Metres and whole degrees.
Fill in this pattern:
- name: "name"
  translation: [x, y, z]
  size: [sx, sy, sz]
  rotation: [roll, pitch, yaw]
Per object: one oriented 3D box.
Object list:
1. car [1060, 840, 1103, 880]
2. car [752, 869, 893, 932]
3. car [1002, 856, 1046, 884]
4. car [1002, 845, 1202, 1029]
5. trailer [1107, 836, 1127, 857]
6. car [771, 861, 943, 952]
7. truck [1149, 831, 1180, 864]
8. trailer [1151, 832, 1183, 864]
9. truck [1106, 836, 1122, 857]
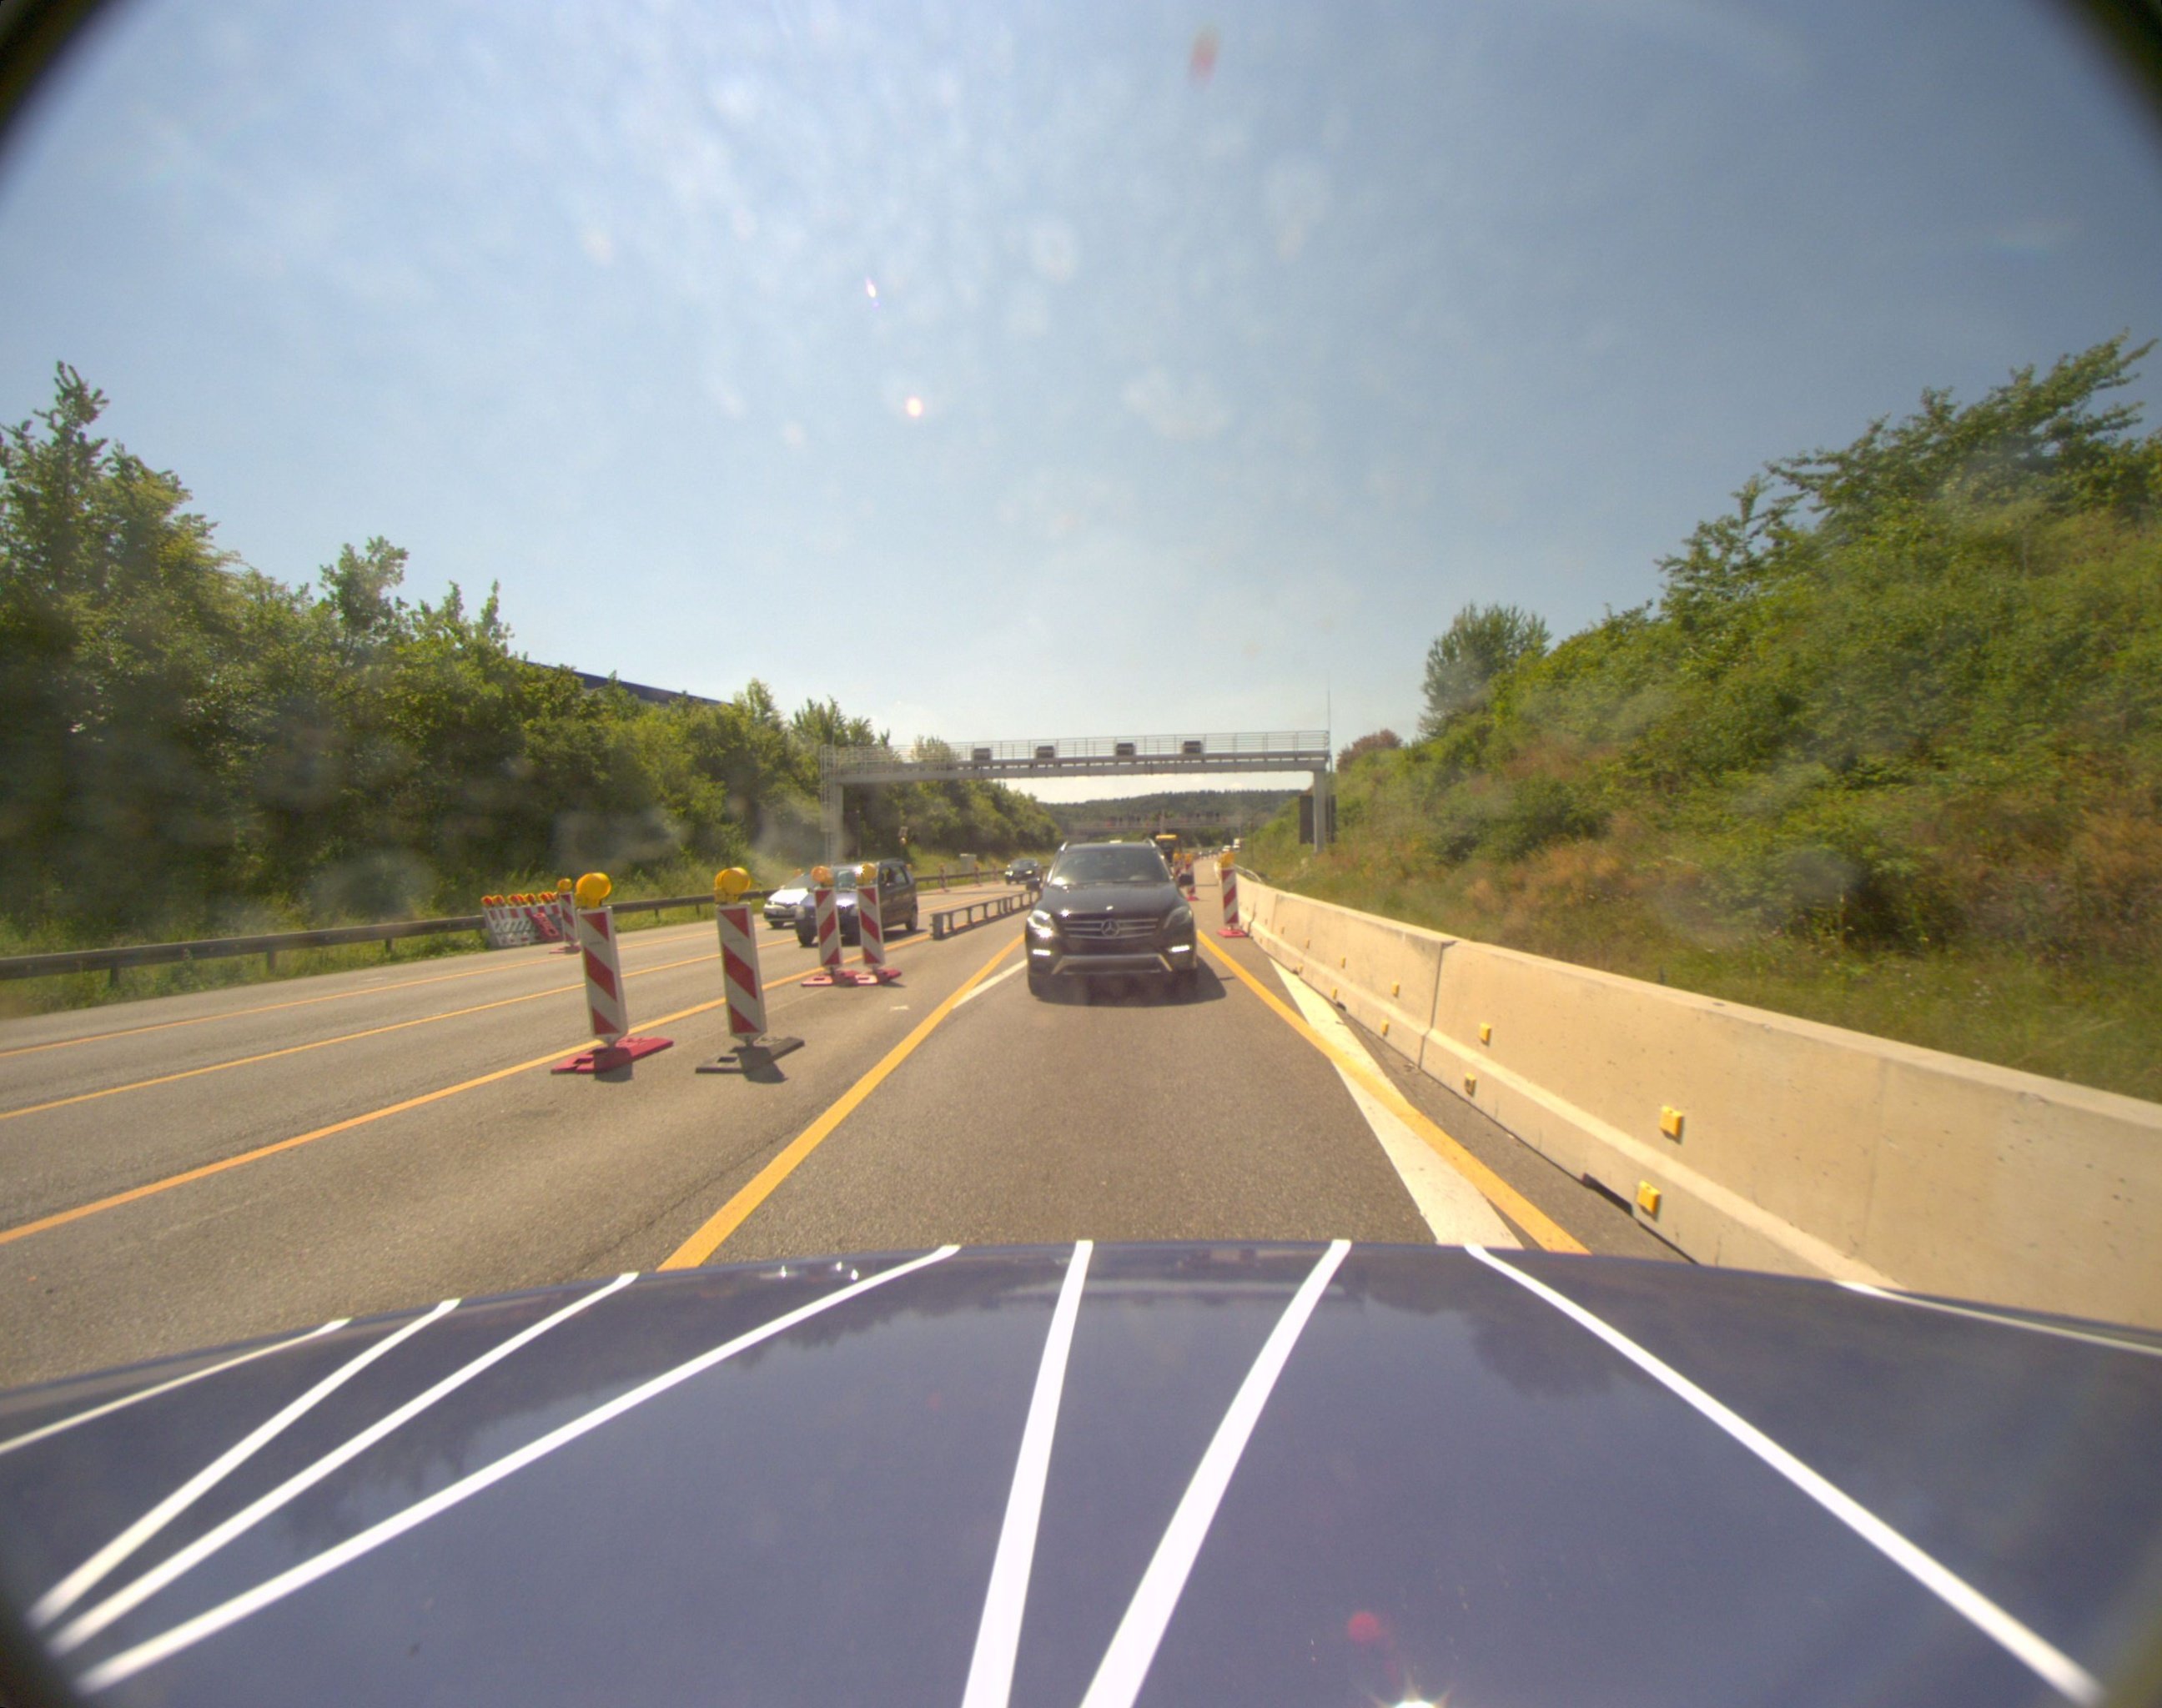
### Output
- name: "car"
  translation: [0.134, 0.386, 53.050]
  size: [2.270, 2.521, 6.587]
  rotation: [-2, 0, 6]
- name: "car"
  translation: [-7.218, 1.243, 21.805]
  size: [1.818, 1.456, 4.655]
  rotation: [-2, 0, 9]
- name: "car"
  translation: [-3.710, 1.005, 50.611]
  size: [2.023, 1.653, 5.239]
  rotation: [-2, 0, 6]
- name: "car"
  translation: [0.367, 0.777, 9.381]
  size: [1.819, 1.685, 4.494]
  rotation: [-2, 0, 5]
- name: "trailer"
  translation: [7.269, -1.421, 151.751]
  size: [2.545, 3.929, 13.877]
  rotation: [-3, 0, 8]
- name: "car"
  translation: [-4.737, 1.044, 16.918]
  size: [1.818, 1.633, 4.655]
  rotation: [-2, 0, 9]
- name: "truck"
  translation: [9.916, -0.701, 89.592]
  size: [3.227, 3.639, 7.088]
  rotation: [-2, -1, 9]
- name: "trailer"
  translation: [11.215, -0.636, 97.863]
  size: [3.234, 3.645, 17.435]
  rotation: [-2, -1, 9]
- name: "truck"
  translation: [6.330, -1.421, 144.927]
  size: [2.532, 3.927, 5.602]
  rotation: [-3, 0, 8]
